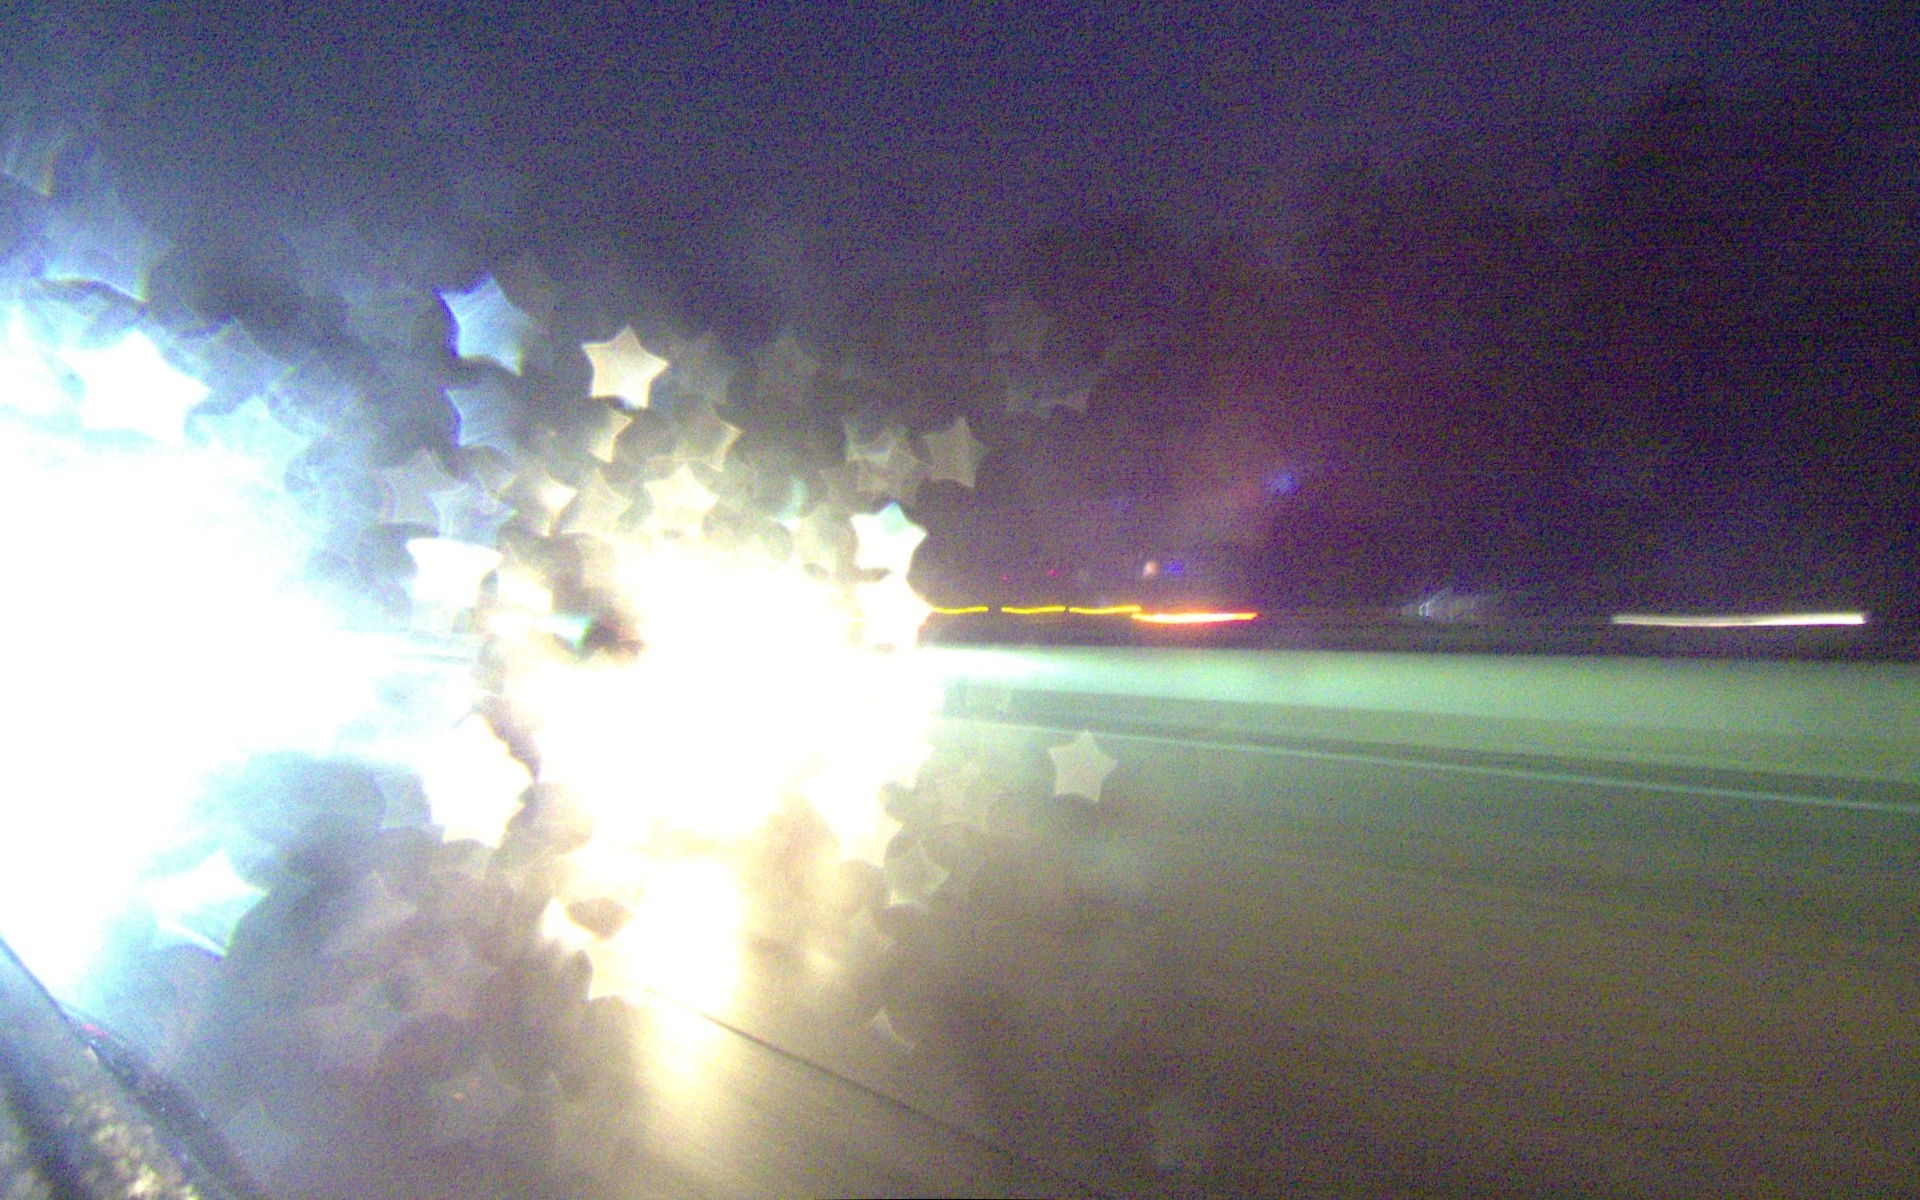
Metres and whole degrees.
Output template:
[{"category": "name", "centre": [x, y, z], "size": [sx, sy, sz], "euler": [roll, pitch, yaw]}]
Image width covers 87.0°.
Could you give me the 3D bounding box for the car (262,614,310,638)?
[{"category": "car", "centre": [-50.685, 1.945, 76.087], "size": [4.252, 1.655, 1.973], "euler": [-1, 1, 42]}]

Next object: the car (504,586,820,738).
[{"category": "car", "centre": [-4.386, 0.759, 14.452], "size": [4.884, 1.790, 1.973], "euler": [-1, 1, 41]}]

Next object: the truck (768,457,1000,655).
[{"category": "truck", "centre": [-2.772, -1.386, 35.546], "size": [7.343, 6.174, 4.123], "euler": [-1, 1, 42]}]

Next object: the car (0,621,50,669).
[{"category": "car", "centre": [-36.442, 1.704, 38.891], "size": [4.002, 1.689, 1.971], "euler": [-1, 1, 45]}]

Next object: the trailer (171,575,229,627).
[{"category": "trailer", "centre": [-98.271, 0.217, 130.713], "size": [14.412, 6.172, 3.425], "euler": [-1, 4, 44]}]

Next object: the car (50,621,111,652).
[{"category": "car", "centre": [-49.871, 2.042, 57.370], "size": [3.872, 1.621, 2.279], "euler": [-1, 1, 44]}]

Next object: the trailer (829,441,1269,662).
[{"category": "trailer", "centre": [2.081, -1.162, 31.180], "size": [13.743, 5.485, 4.123], "euler": [-1, 1, 42]}]

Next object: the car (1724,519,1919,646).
[{"category": "car", "centre": [12.306, -0.252, 12.034], "size": [5.015, 1.491, 1.689], "euler": [-1, 2, 42]}]

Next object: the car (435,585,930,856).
[{"category": "car", "centre": [-2.417, 0.728, 8.150], "size": [4.233, 1.606, 1.895], "euler": [-1, 0, 43]}]
